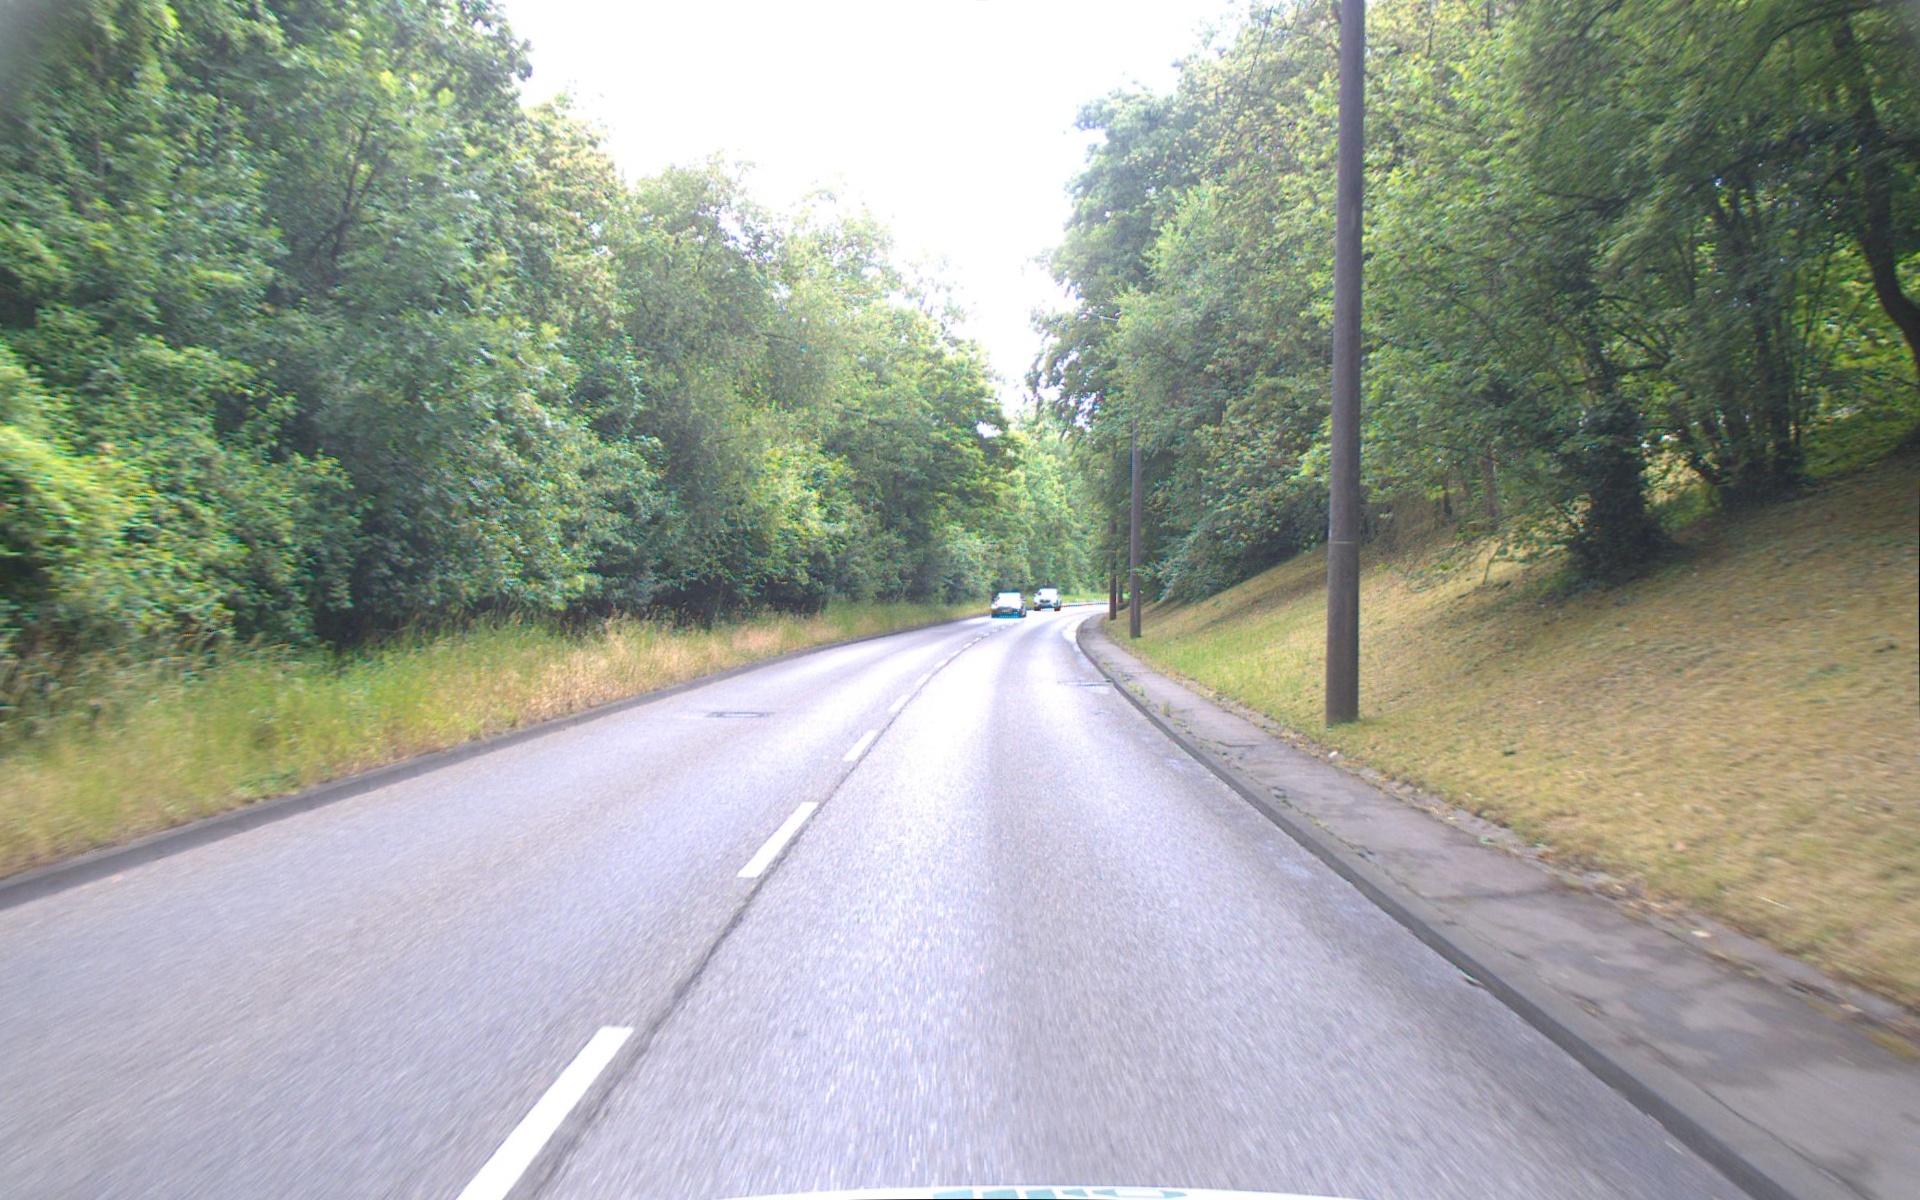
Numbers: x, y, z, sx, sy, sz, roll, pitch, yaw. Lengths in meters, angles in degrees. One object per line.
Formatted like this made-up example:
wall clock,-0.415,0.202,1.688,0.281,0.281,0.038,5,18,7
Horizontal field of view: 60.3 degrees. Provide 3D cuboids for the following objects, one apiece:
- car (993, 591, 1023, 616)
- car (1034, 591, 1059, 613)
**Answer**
car,2.842,0.196,97.468,1.772,1.445,4.001,0,0,2
car,6.683,0.147,128.009,1.902,1.609,4.442,0,0,2
